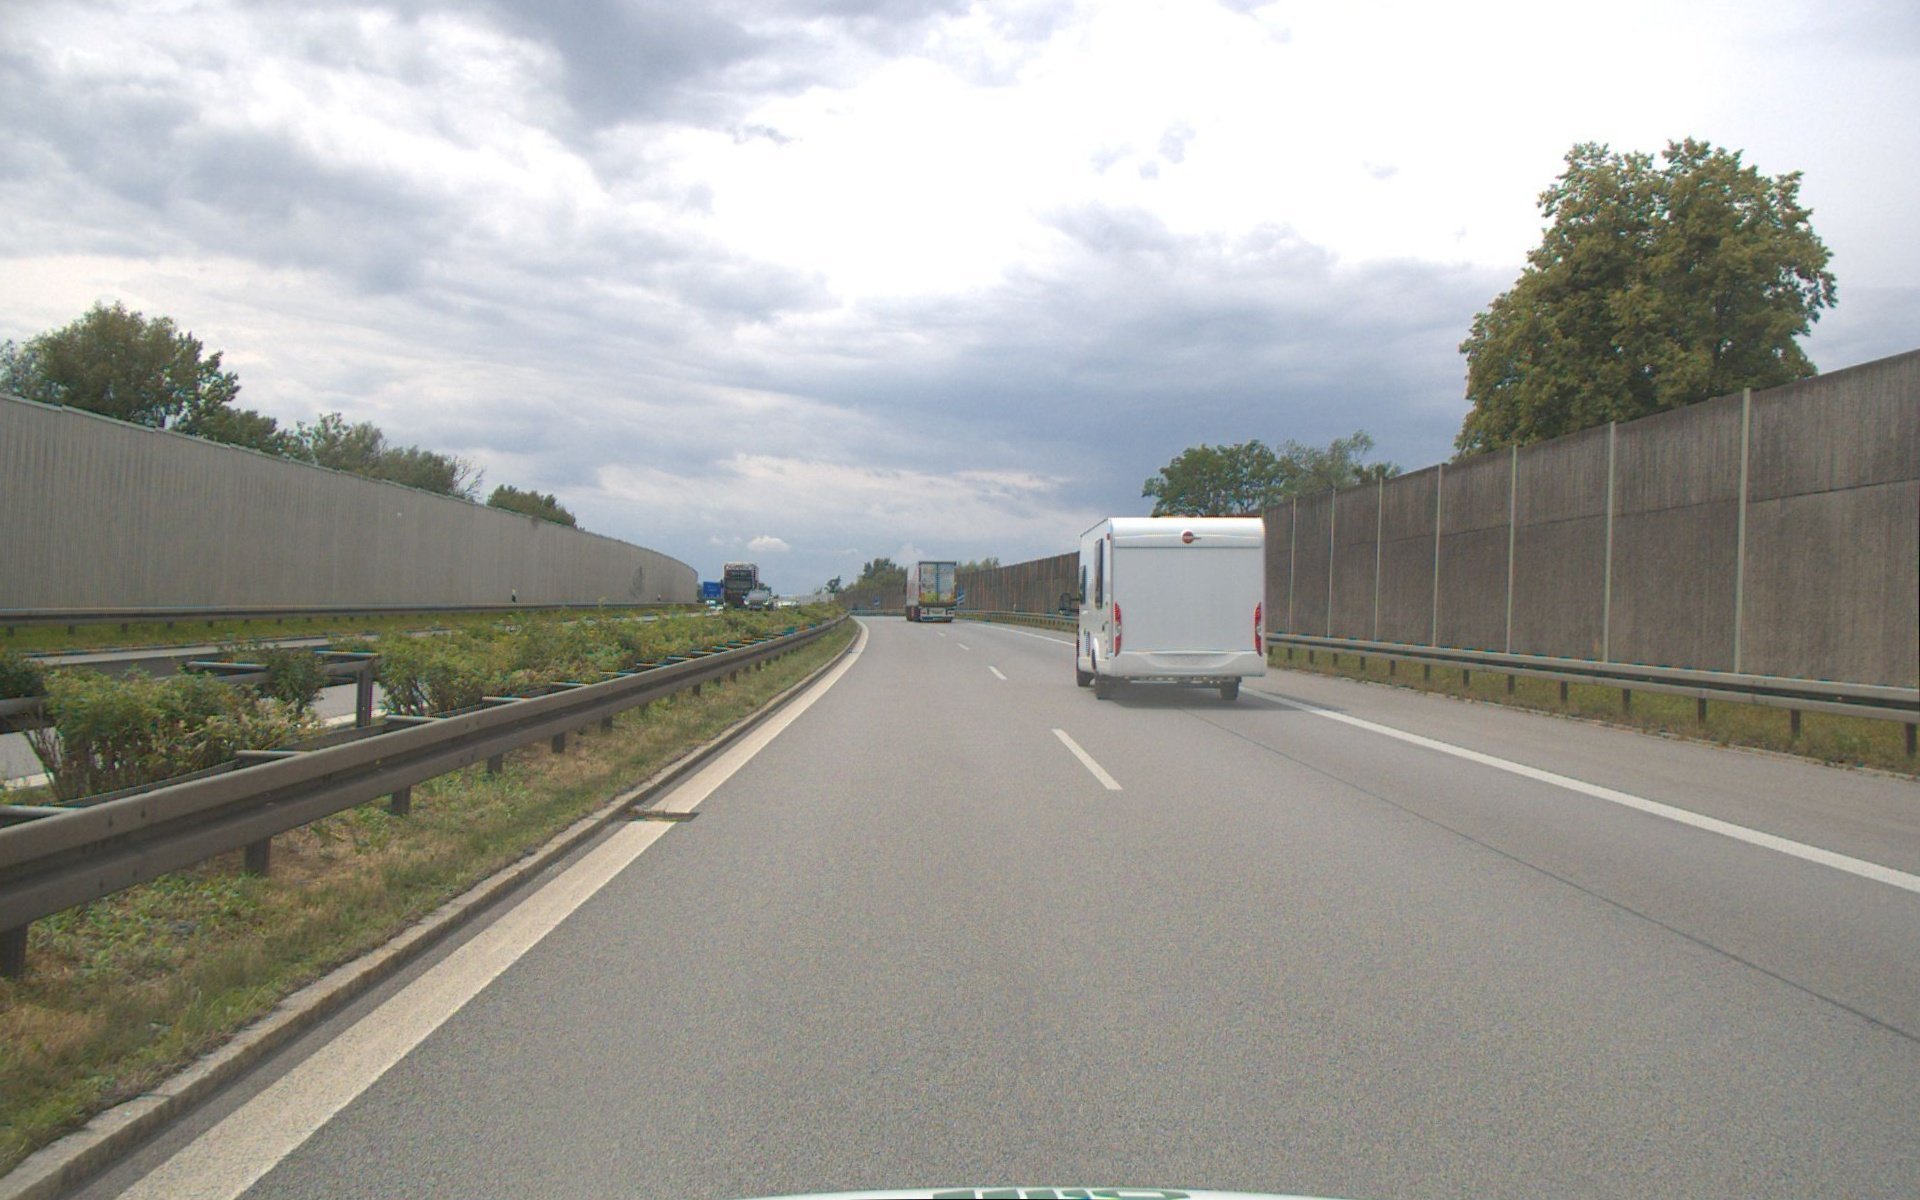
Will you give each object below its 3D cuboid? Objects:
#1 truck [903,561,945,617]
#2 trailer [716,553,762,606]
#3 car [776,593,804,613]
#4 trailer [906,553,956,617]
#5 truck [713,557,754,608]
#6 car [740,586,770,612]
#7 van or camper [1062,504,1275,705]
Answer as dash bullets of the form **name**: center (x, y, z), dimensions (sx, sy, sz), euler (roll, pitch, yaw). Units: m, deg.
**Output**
- **truck**: center (-2.725, -0.782, 123.329), dimensions (2.702, 4.029, 5.670), euler (1, -1, -6)
- **trailer**: center (-18.730, -1.666, 141.046), dimensions (2.922, 4.314, 14.168), euler (0, 0, -4)
- **car**: center (-13.497, 0.232, 131.236), dimensions (1.892, 1.576, 4.564), euler (1, 0, -2)
- **trailer**: center (-2.150, -0.924, 116.833), dimensions (2.737, 4.248, 14.090), euler (0, -1, -4)
- **truck**: center (-18.320, -1.389, 134.026), dimensions (2.816, 3.926, 6.070), euler (1, 0, -3)
- **car**: center (-13.348, -0.066, 107.936), dimensions (1.682, 1.670, 4.700), euler (1, 0, -4)
- **van or camper**: center (3.116, 0.066, 26.540), dimensions (2.380, 2.744, 7.224), euler (1, 0, -1)
